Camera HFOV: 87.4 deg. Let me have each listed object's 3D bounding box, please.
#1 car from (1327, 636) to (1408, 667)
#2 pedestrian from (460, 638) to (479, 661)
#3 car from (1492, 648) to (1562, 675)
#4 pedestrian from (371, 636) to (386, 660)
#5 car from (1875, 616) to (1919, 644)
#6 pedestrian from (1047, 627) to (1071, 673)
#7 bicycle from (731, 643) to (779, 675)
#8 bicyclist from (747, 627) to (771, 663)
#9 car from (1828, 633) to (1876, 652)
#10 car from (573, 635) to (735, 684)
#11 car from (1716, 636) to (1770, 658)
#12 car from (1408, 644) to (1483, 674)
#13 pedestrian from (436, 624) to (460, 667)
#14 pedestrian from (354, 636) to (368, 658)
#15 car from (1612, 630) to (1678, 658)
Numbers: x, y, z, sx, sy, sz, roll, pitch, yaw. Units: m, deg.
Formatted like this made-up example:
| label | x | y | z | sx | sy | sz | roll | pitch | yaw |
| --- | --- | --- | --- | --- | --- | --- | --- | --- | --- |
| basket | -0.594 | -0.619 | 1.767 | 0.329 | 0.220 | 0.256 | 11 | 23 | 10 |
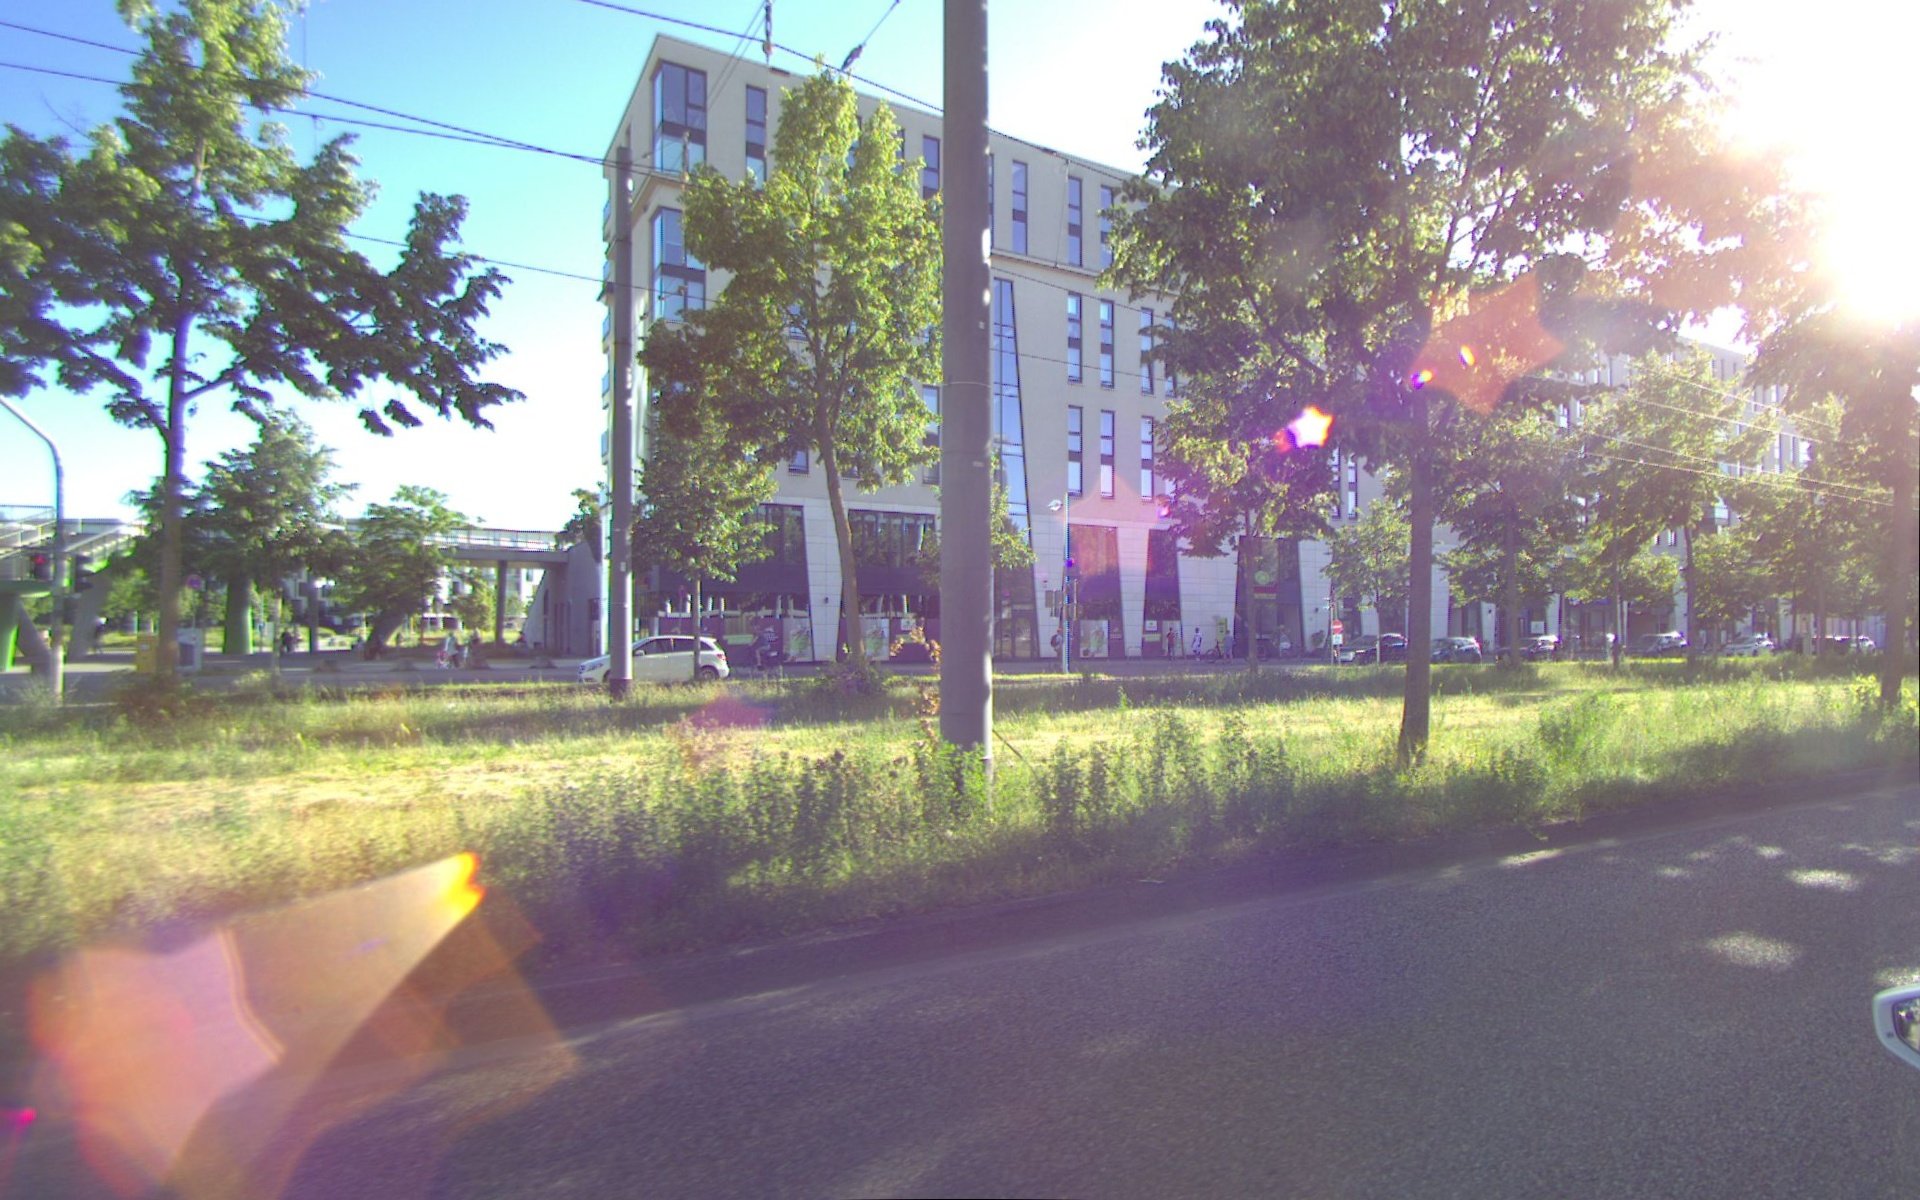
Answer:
| label | x | y | z | sx | sy | sz | roll | pitch | yaw |
| --- | --- | --- | --- | --- | --- | --- | --- | --- | --- |
| car | 18.825 | 2.346 | 46.334 | 3.669 | 1.360 | 1.572 | 1 | -2 | -30 |
| pedestrian | -21.362 | 2.152 | 43.738 | 0.589 | 0.932 | 0.433 | 1 | -1 | 24 |
| car | 29.846 | 3.211 | 52.853 | 3.669 | 1.360 | 1.572 | 1 | -2 | -30 |
| pedestrian | -28.721 | 2.374 | 49.642 | 0.592 | 1.140 | 0.437 | 1 | -1 | -28 |
| car | 70.314 | 2.260 | 74.991 | 3.955 | 2.040 | 1.983 | 1 | -1 | -32 |
| pedestrian | 4.112 | 2.060 | 41.583 | 0.792 | 1.836 | 0.575 | 1 | -1 | -33 |
| bicycle | -7.523 | 2.163 | 36.889 | 1.619 | 1.125 | 0.526 | 1 | -1 | -30 |
| bicyclist | -7.401 | 1.662 | 37.011 | 0.696 | 1.310 | 0.575 | 1 | -1 | -29 |
| car | 64.868 | 3.096 | 73.036 | 3.669 | 1.360 | 1.572 | 1 | -2 | -30 |
| car | -9.110 | 1.749 | 30.036 | 4.419 | 1.360 | 1.572 | 1 | -2 | -31 |
| car | 51.155 | 3.059 | 65.629 | 3.669 | 1.360 | 1.572 | 1 | -2 | -30 |
| car | 23.886 | 2.869 | 49.363 | 3.669 | 1.360 | 1.572 | 1 | -2 | -30 |
| pedestrian | -21.693 | 1.914 | 42.583 | 0.589 | 1.795 | 0.672 | 1 | -1 | 24 |
| pedestrian | -31.668 | 2.480 | 53.097 | 0.592 | 1.140 | 0.437 | 1 | -1 | -28 |
| car | 40.337 | 2.570 | 59.122 | 3.761 | 1.548 | 1.767 | 1 | -2 | -30 |
